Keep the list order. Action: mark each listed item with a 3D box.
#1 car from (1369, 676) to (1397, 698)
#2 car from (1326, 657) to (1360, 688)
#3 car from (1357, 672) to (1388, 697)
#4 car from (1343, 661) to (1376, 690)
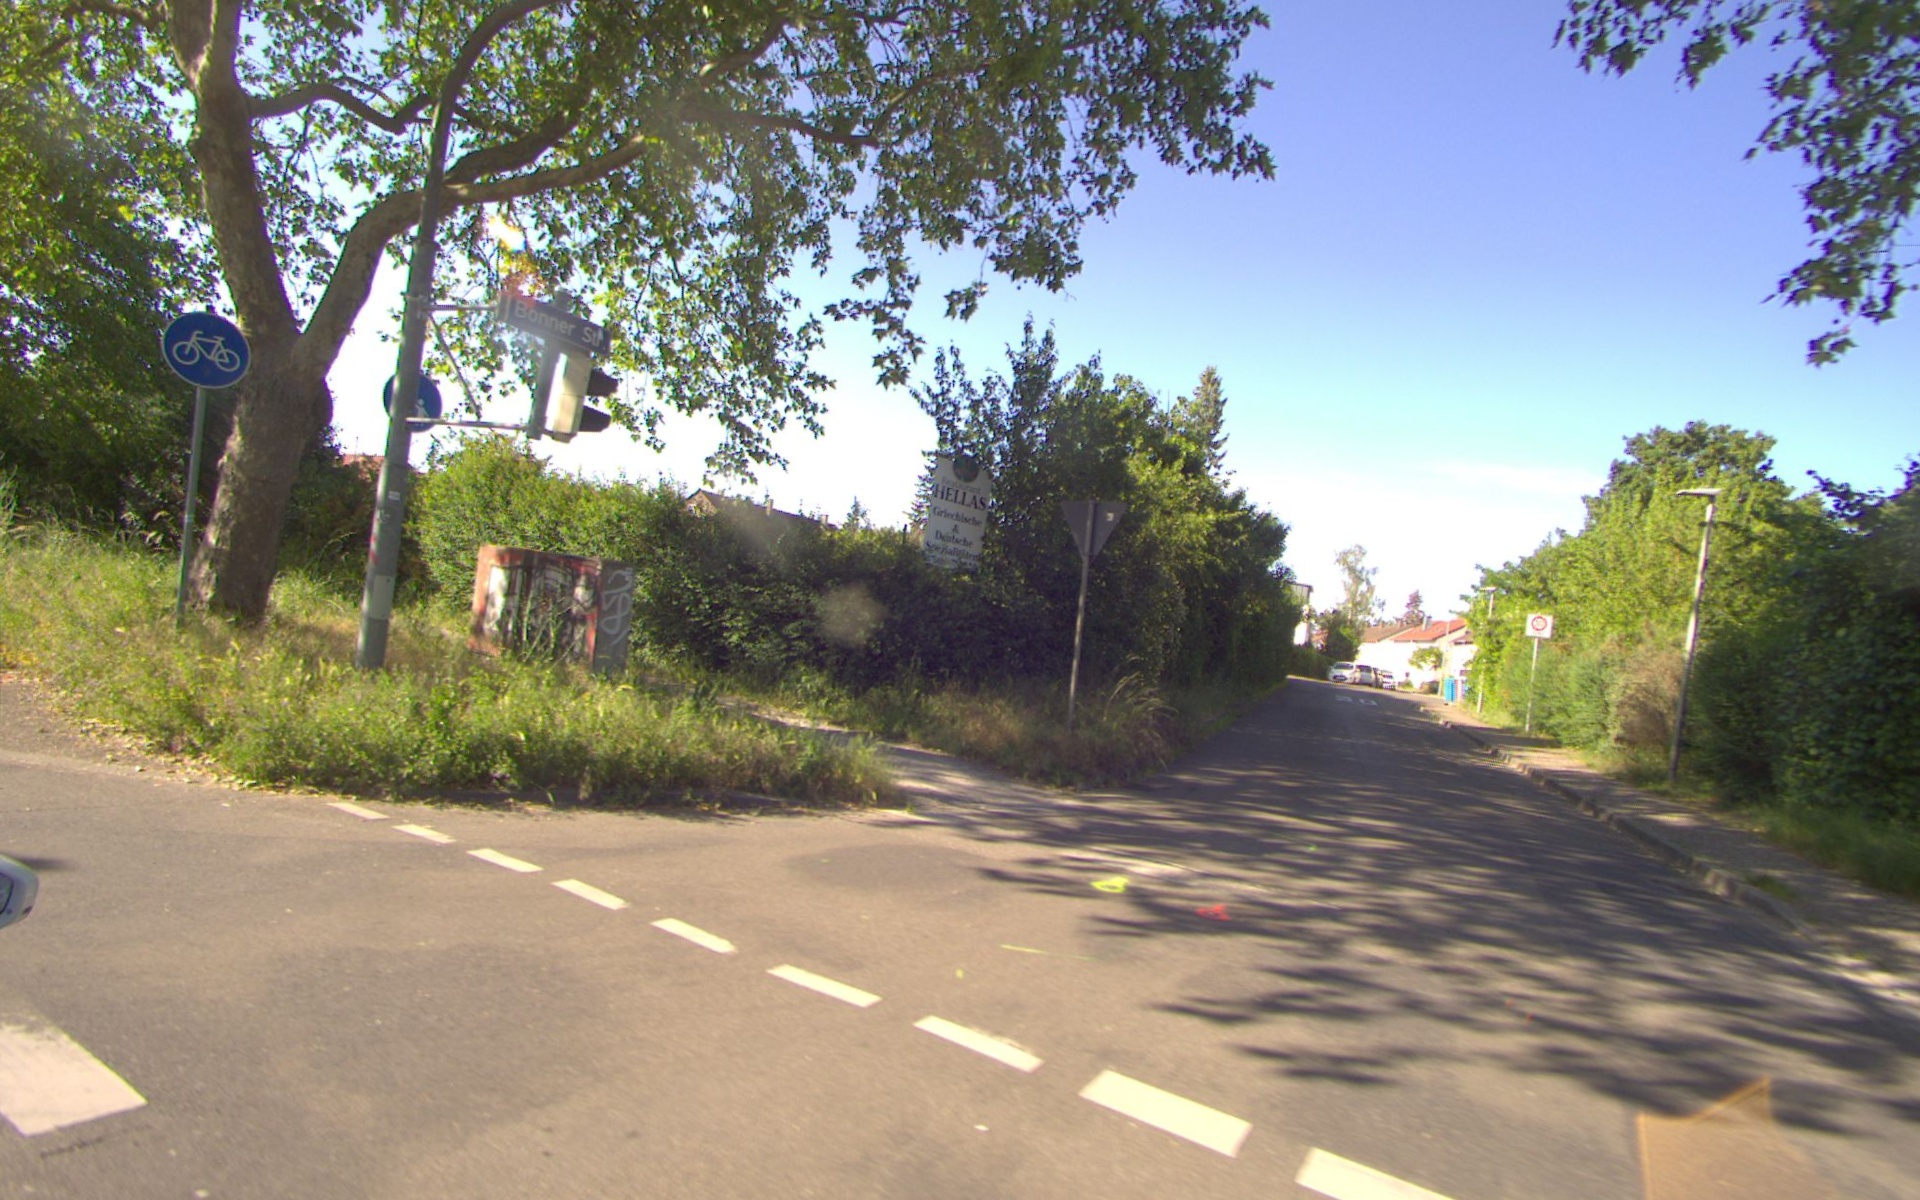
[{"bbox_3d":[39.461,8.091,93.759,1.910,1.628,4.000,7,-3,28],"label":"car"},{"bbox_3d":[24.913,4.723,65.398,1.653,1.601,4.003,7,-3,24],"label":"car"},{"bbox_3d":[34.449,7.085,83.999,1.910,1.628,4.000,7,-3,28],"label":"car"},{"bbox_3d":[28.403,5.390,71.463,1.908,1.628,4.003,7,-3,24],"label":"car"}]
